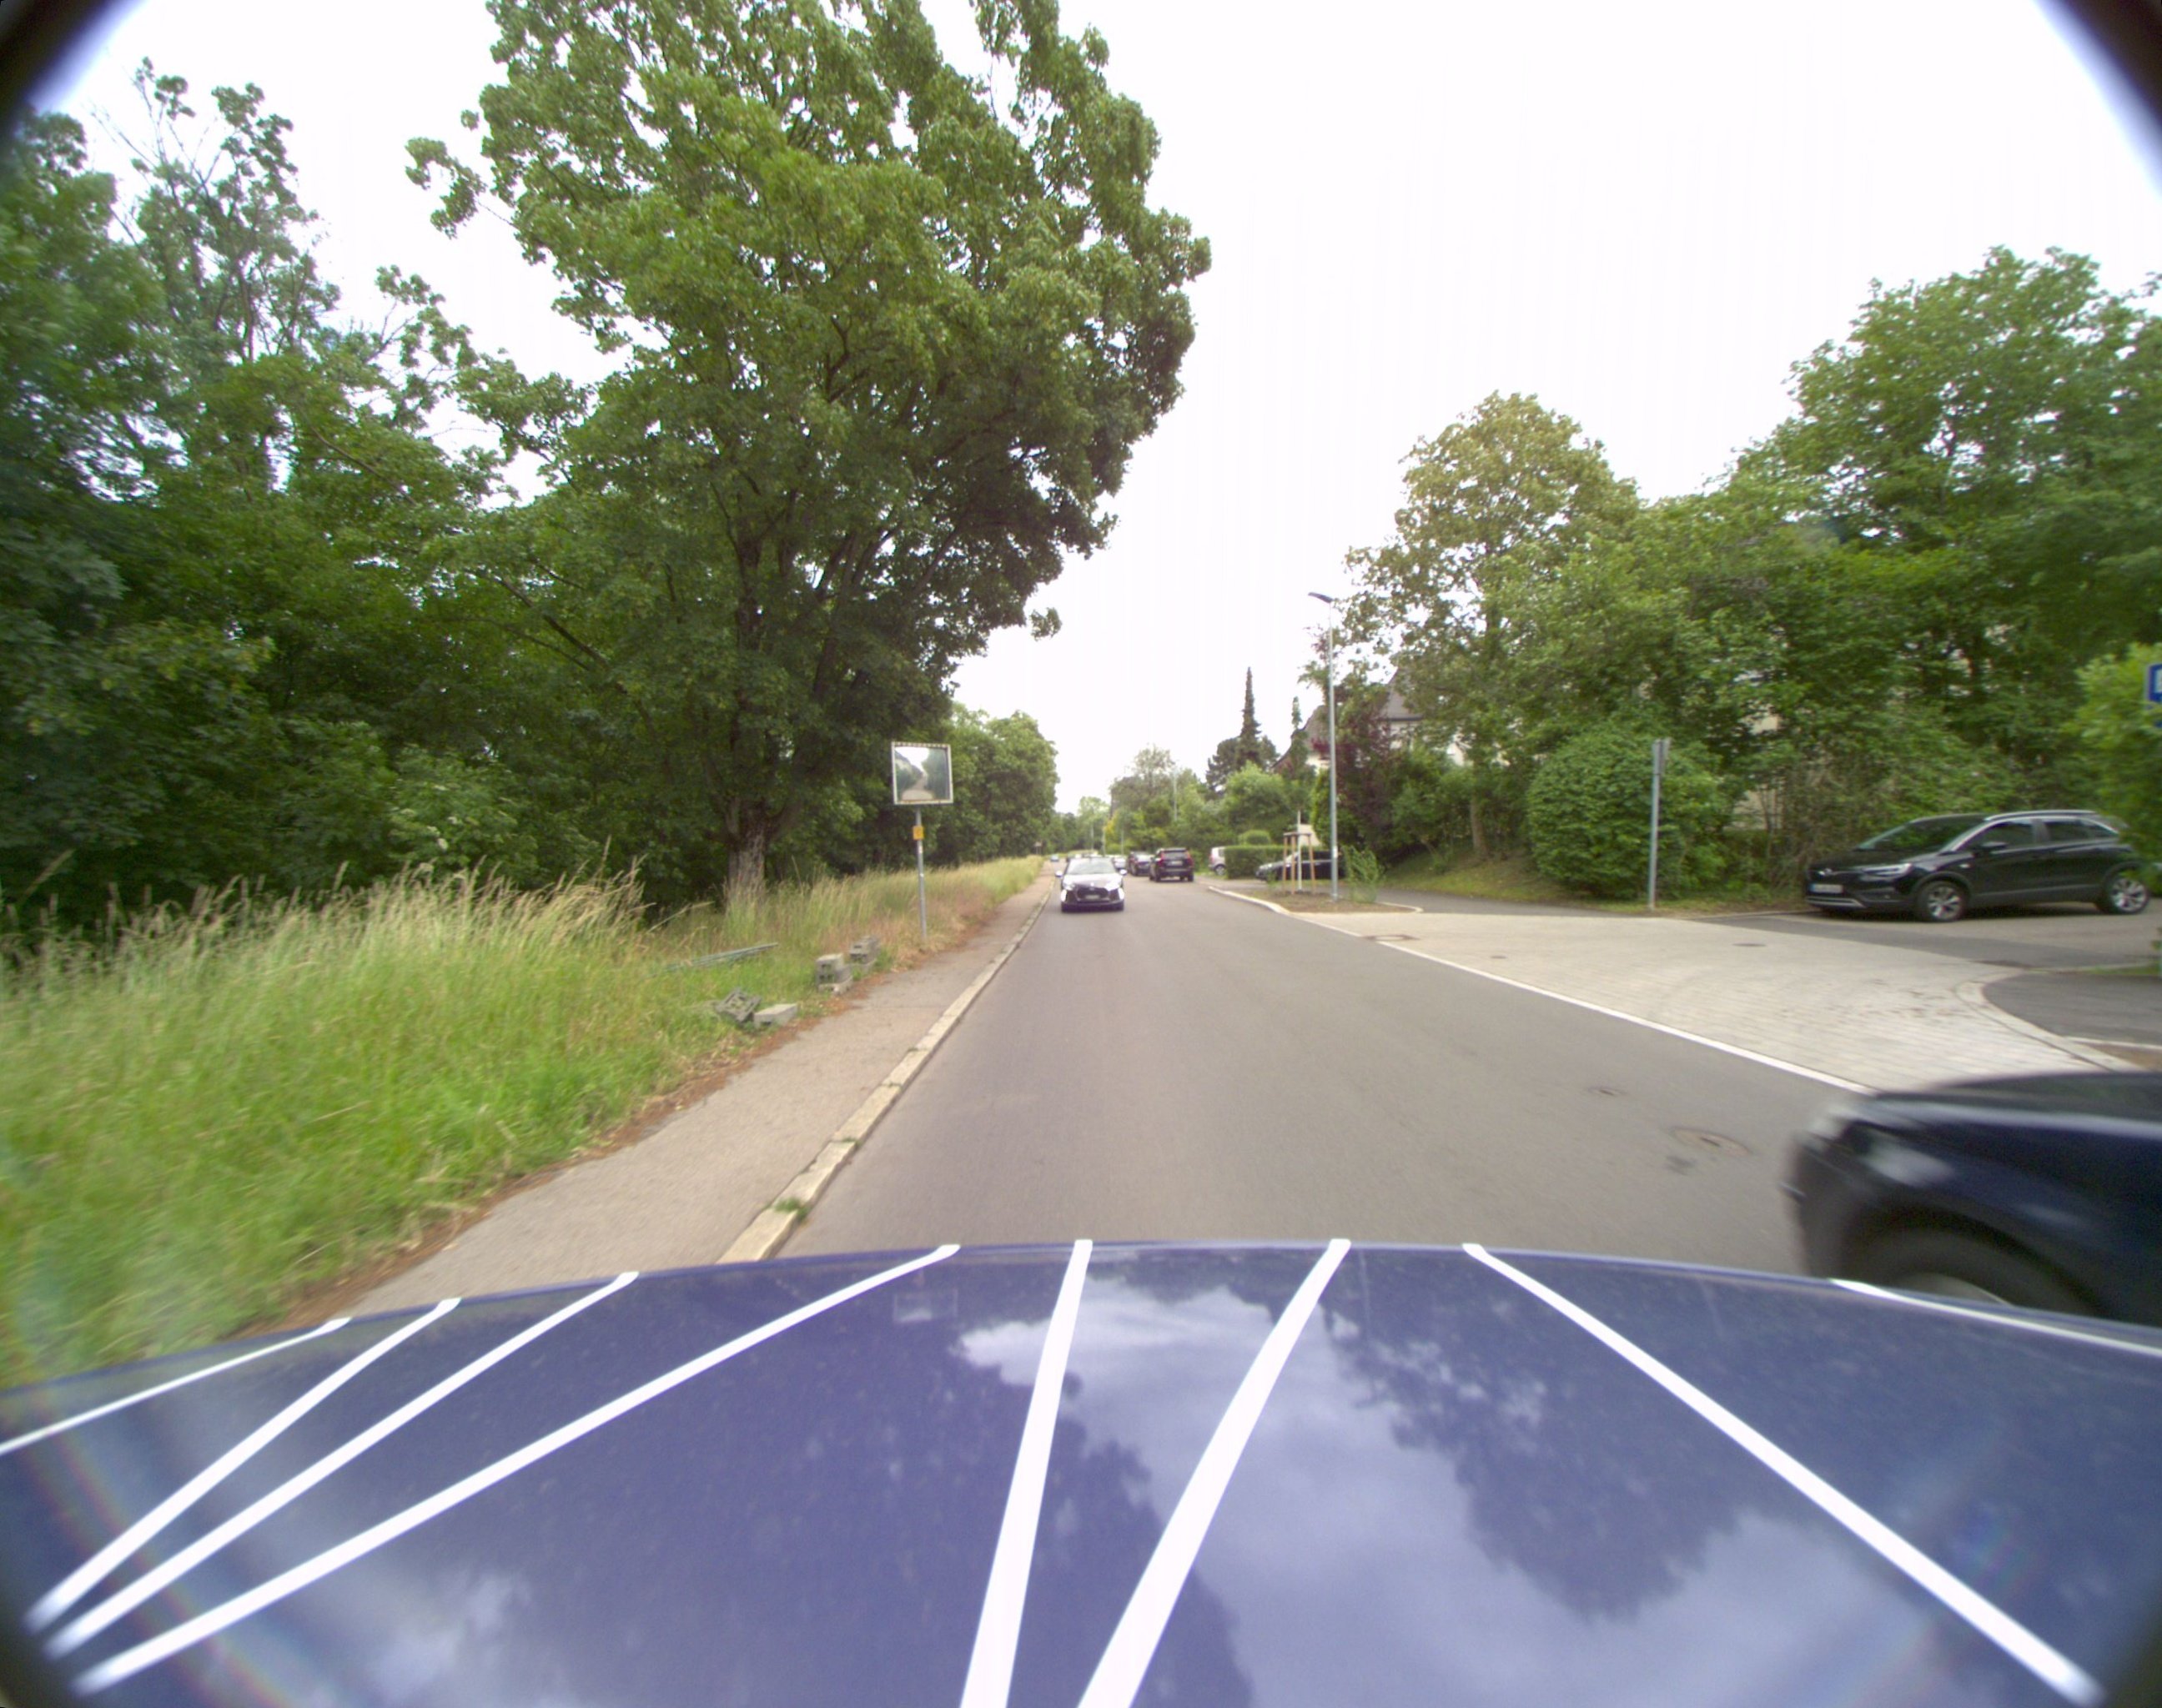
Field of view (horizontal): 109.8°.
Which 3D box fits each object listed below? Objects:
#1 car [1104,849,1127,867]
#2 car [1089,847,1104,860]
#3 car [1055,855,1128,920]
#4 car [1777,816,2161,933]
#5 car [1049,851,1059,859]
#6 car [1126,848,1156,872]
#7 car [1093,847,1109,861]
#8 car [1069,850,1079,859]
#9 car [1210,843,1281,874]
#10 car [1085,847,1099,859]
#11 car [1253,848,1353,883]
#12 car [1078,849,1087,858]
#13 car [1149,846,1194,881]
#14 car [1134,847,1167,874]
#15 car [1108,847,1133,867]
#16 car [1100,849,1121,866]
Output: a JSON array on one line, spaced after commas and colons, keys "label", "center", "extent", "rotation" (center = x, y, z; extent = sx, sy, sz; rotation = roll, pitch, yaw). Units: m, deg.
[{"label": "car", "center": [3.334, 0.358, 74.439], "extent": [1.922, 1.670, 4.194], "rotation": [-2, 0, -1]}, {"label": "car", "center": [2.143, -0.122, 104.968], "extent": [1.922, 1.670, 4.194], "rotation": [-2, 0, -1]}, {"label": "car", "center": [0.329, 0.823, 20.607], "extent": [1.711, 1.466, 4.195], "rotation": [-2, 0, 2]}, {"label": "car", "center": [13.798, 0.293, 11.921], "extent": [4.129, 1.549, 1.683], "rotation": [-2, 1, 2]}, {"label": "car", "center": [-5.453, 0.187, 153.215], "extent": [1.923, 1.670, 4.193], "rotation": [-2, 0, -3]}, {"label": "car", "center": [4.395, 0.420, 56.339], "extent": [1.922, 1.670, 4.195], "rotation": [-2, 0, 2]}, {"label": "car", "center": [2.576, -0.020, 99.203], "extent": [1.922, 1.670, 4.194], "rotation": [-2, 0, -1]}, {"label": "car", "center": [-1.352, 0.017, 146.434], "extent": [1.922, 1.670, 4.194], "rotation": [-2, 0, -1]}, {"label": "car", "center": [9.307, 0.222, 43.140], "extent": [3.772, 1.581, 1.641], "rotation": [-2, 1, 7]}, {"label": "car", "center": [1.641, -0.177, 114.891], "extent": [1.922, 1.670, 4.194], "rotation": [-2, 0, -1]}, {"label": "car", "center": [9.469, 0.493, 32.575], "extent": [3.773, 1.306, 1.641], "rotation": [-2, 1, 2]}, {"label": "car", "center": [0.303, -0.121, 167.171], "extent": [1.922, 1.670, 4.194], "rotation": [-2, 0, -1]}, {"label": "car", "center": [4.702, 0.444, 39.813], "extent": [1.922, 1.670, 4.195], "rotation": [-2, 0, 2]}, {"label": "car", "center": [4.578, 0.407, 50.572], "extent": [1.922, 1.670, 4.195], "rotation": [-2, 0, 2]}, {"label": "car", "center": [3.533, 0.250, 68.690], "extent": [1.922, 1.670, 4.194], "rotation": [-2, 0, -1]}, {"label": "car", "center": [3.076, 0.320, 79.629], "extent": [1.922, 1.670, 4.194], "rotation": [-2, 0, -1]}]
